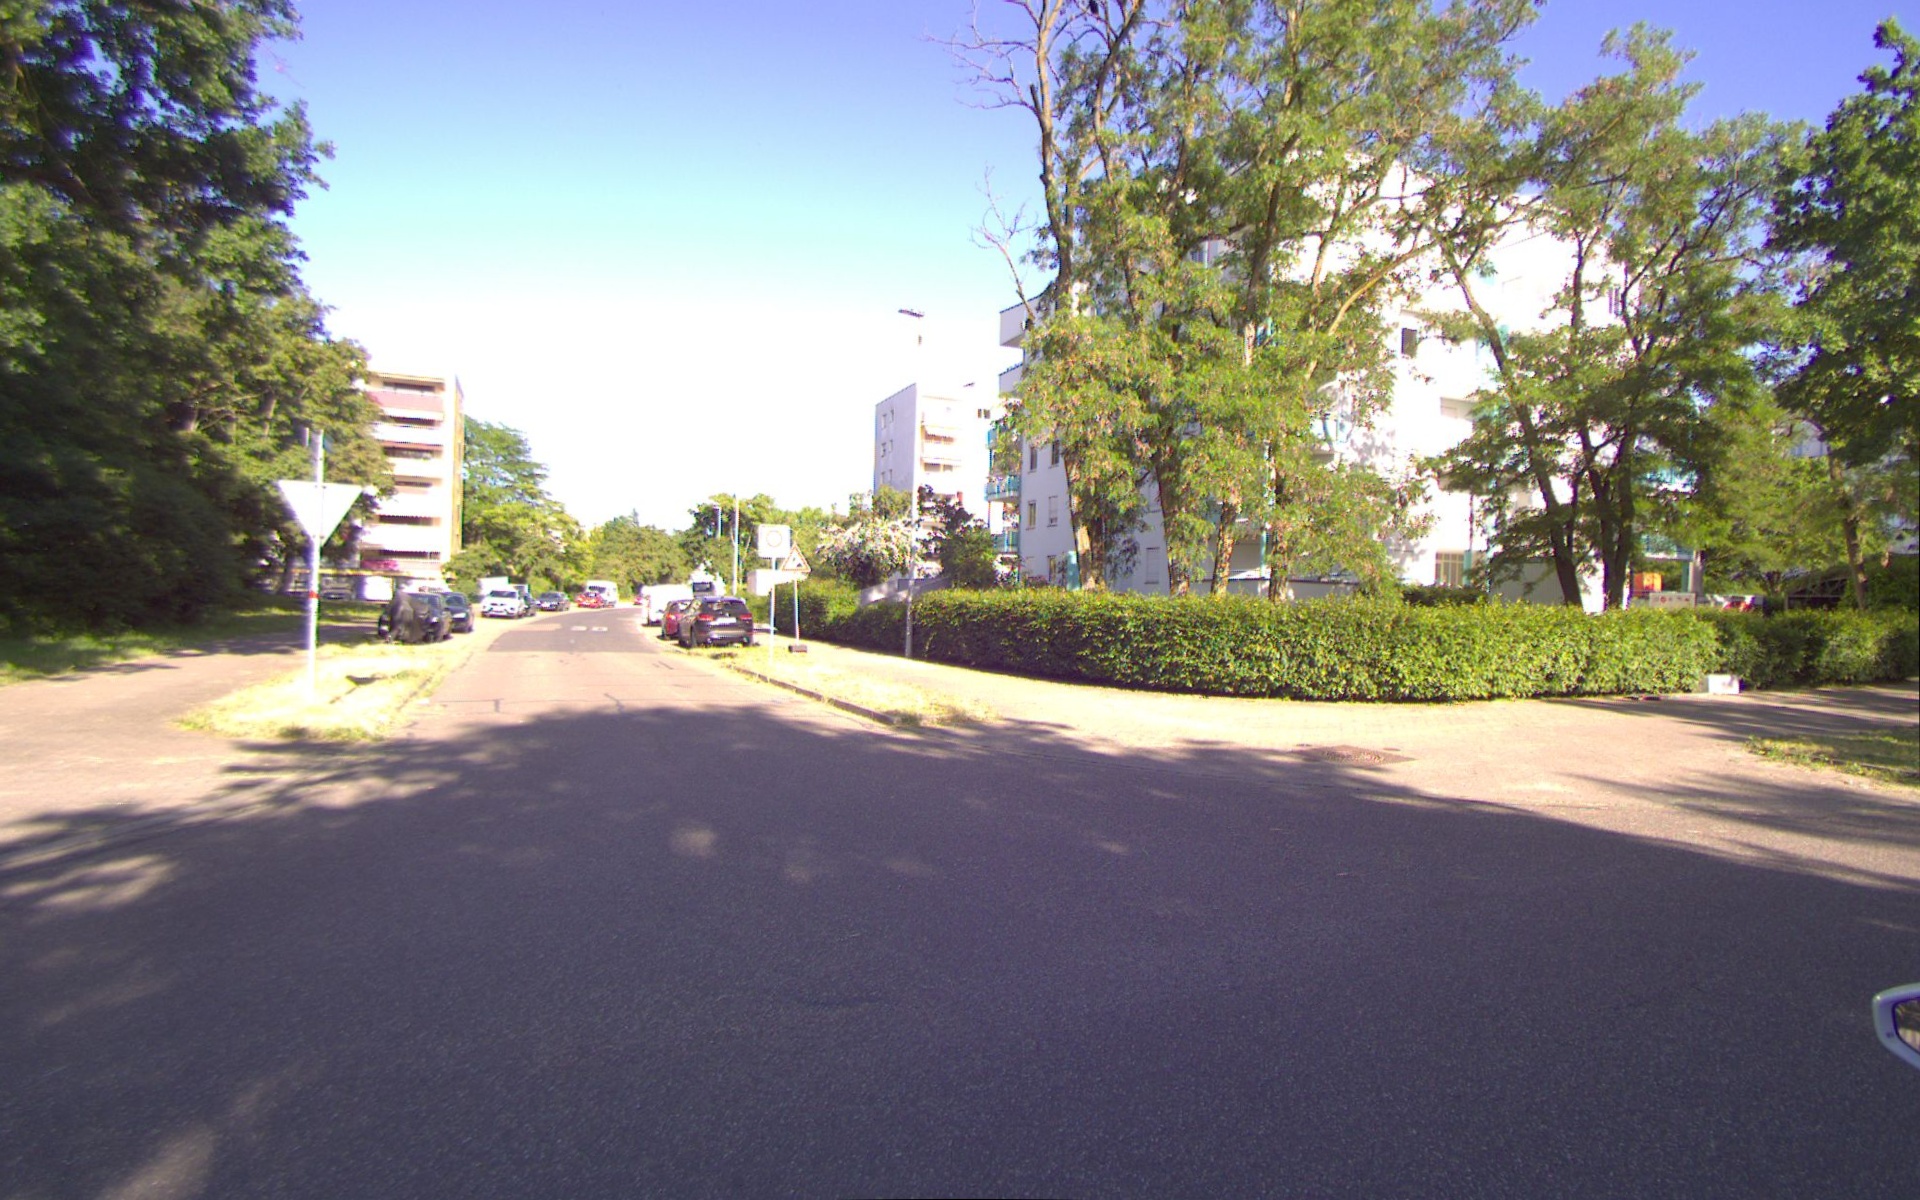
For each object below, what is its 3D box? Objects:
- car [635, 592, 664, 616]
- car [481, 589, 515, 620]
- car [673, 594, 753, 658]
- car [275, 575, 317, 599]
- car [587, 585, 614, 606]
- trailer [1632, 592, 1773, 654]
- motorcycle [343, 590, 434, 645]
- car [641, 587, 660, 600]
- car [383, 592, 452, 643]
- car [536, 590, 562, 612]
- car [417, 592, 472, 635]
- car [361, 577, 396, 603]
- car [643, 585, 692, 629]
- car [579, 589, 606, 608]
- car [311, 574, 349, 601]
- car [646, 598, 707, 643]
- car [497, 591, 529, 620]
[{"bbox_3d":[-20.168,0.234,65.243,1.499,1.486,3.056,1,0,-23],"label":"car"},{"bbox_3d":[-25.034,0.221,54.517,1.623,1.578,3.813,1,0,-24],"label":"car"},{"bbox_3d":[-7.656,0.755,30.938,1.732,1.808,3.813,1,0,-24],"label":"car"},{"bbox_3d":[-45.739,-0.874,69.219,1.775,1.547,3.813,1,0,-24],"label":"car"},{"bbox_3d":[-34.562,-0.468,96.750,1.950,1.925,3.989,2,0,-13],"label":"car"},{"bbox_3d":[26.021,0.811,35.207,4.365,2.070,1.972,1,0,-22],"label":"trailer"},{"bbox_3d":[-14.972,0.454,26.364,0.664,1.362,1.955,2,0,34],"label":"motorcycle"},{"bbox_3d":[-38.773,-0.819,125.984,1.860,1.662,3.991,2,0,-12],"label":"car"},{"bbox_3d":[-16.383,0.511,30.450,1.538,1.410,3.567,1,0,-24],"label":"car"},{"bbox_3d":[-30.207,0.056,73.754,1.623,1.578,3.813,1,0,-24],"label":"car"},{"bbox_3d":[-18.565,0.459,36.290,1.538,1.410,3.567,1,0,-24],"label":"car"},{"bbox_3d":[-41.268,-0.740,71.370,1.738,1.767,3.813,1,0,-24],"label":"car"},{"bbox_3d":[-14.695,0.299,50.372,1.803,2.088,3.813,1,0,-24],"label":"car"},{"bbox_3d":[-33.552,-0.153,91.700,1.796,1.617,3.989,2,0,-13],"label":"car"},{"bbox_3d":[-44.152,-0.876,70.444,1.738,1.767,3.813,1,0,-24],"label":"car"},{"bbox_3d":[-10.556,0.720,37.208,1.615,1.531,3.813,1,0,-24],"label":"car"},{"bbox_3d":[-26.601,0.301,59.816,1.623,1.578,3.813,1,0,-24],"label":"car"}]
